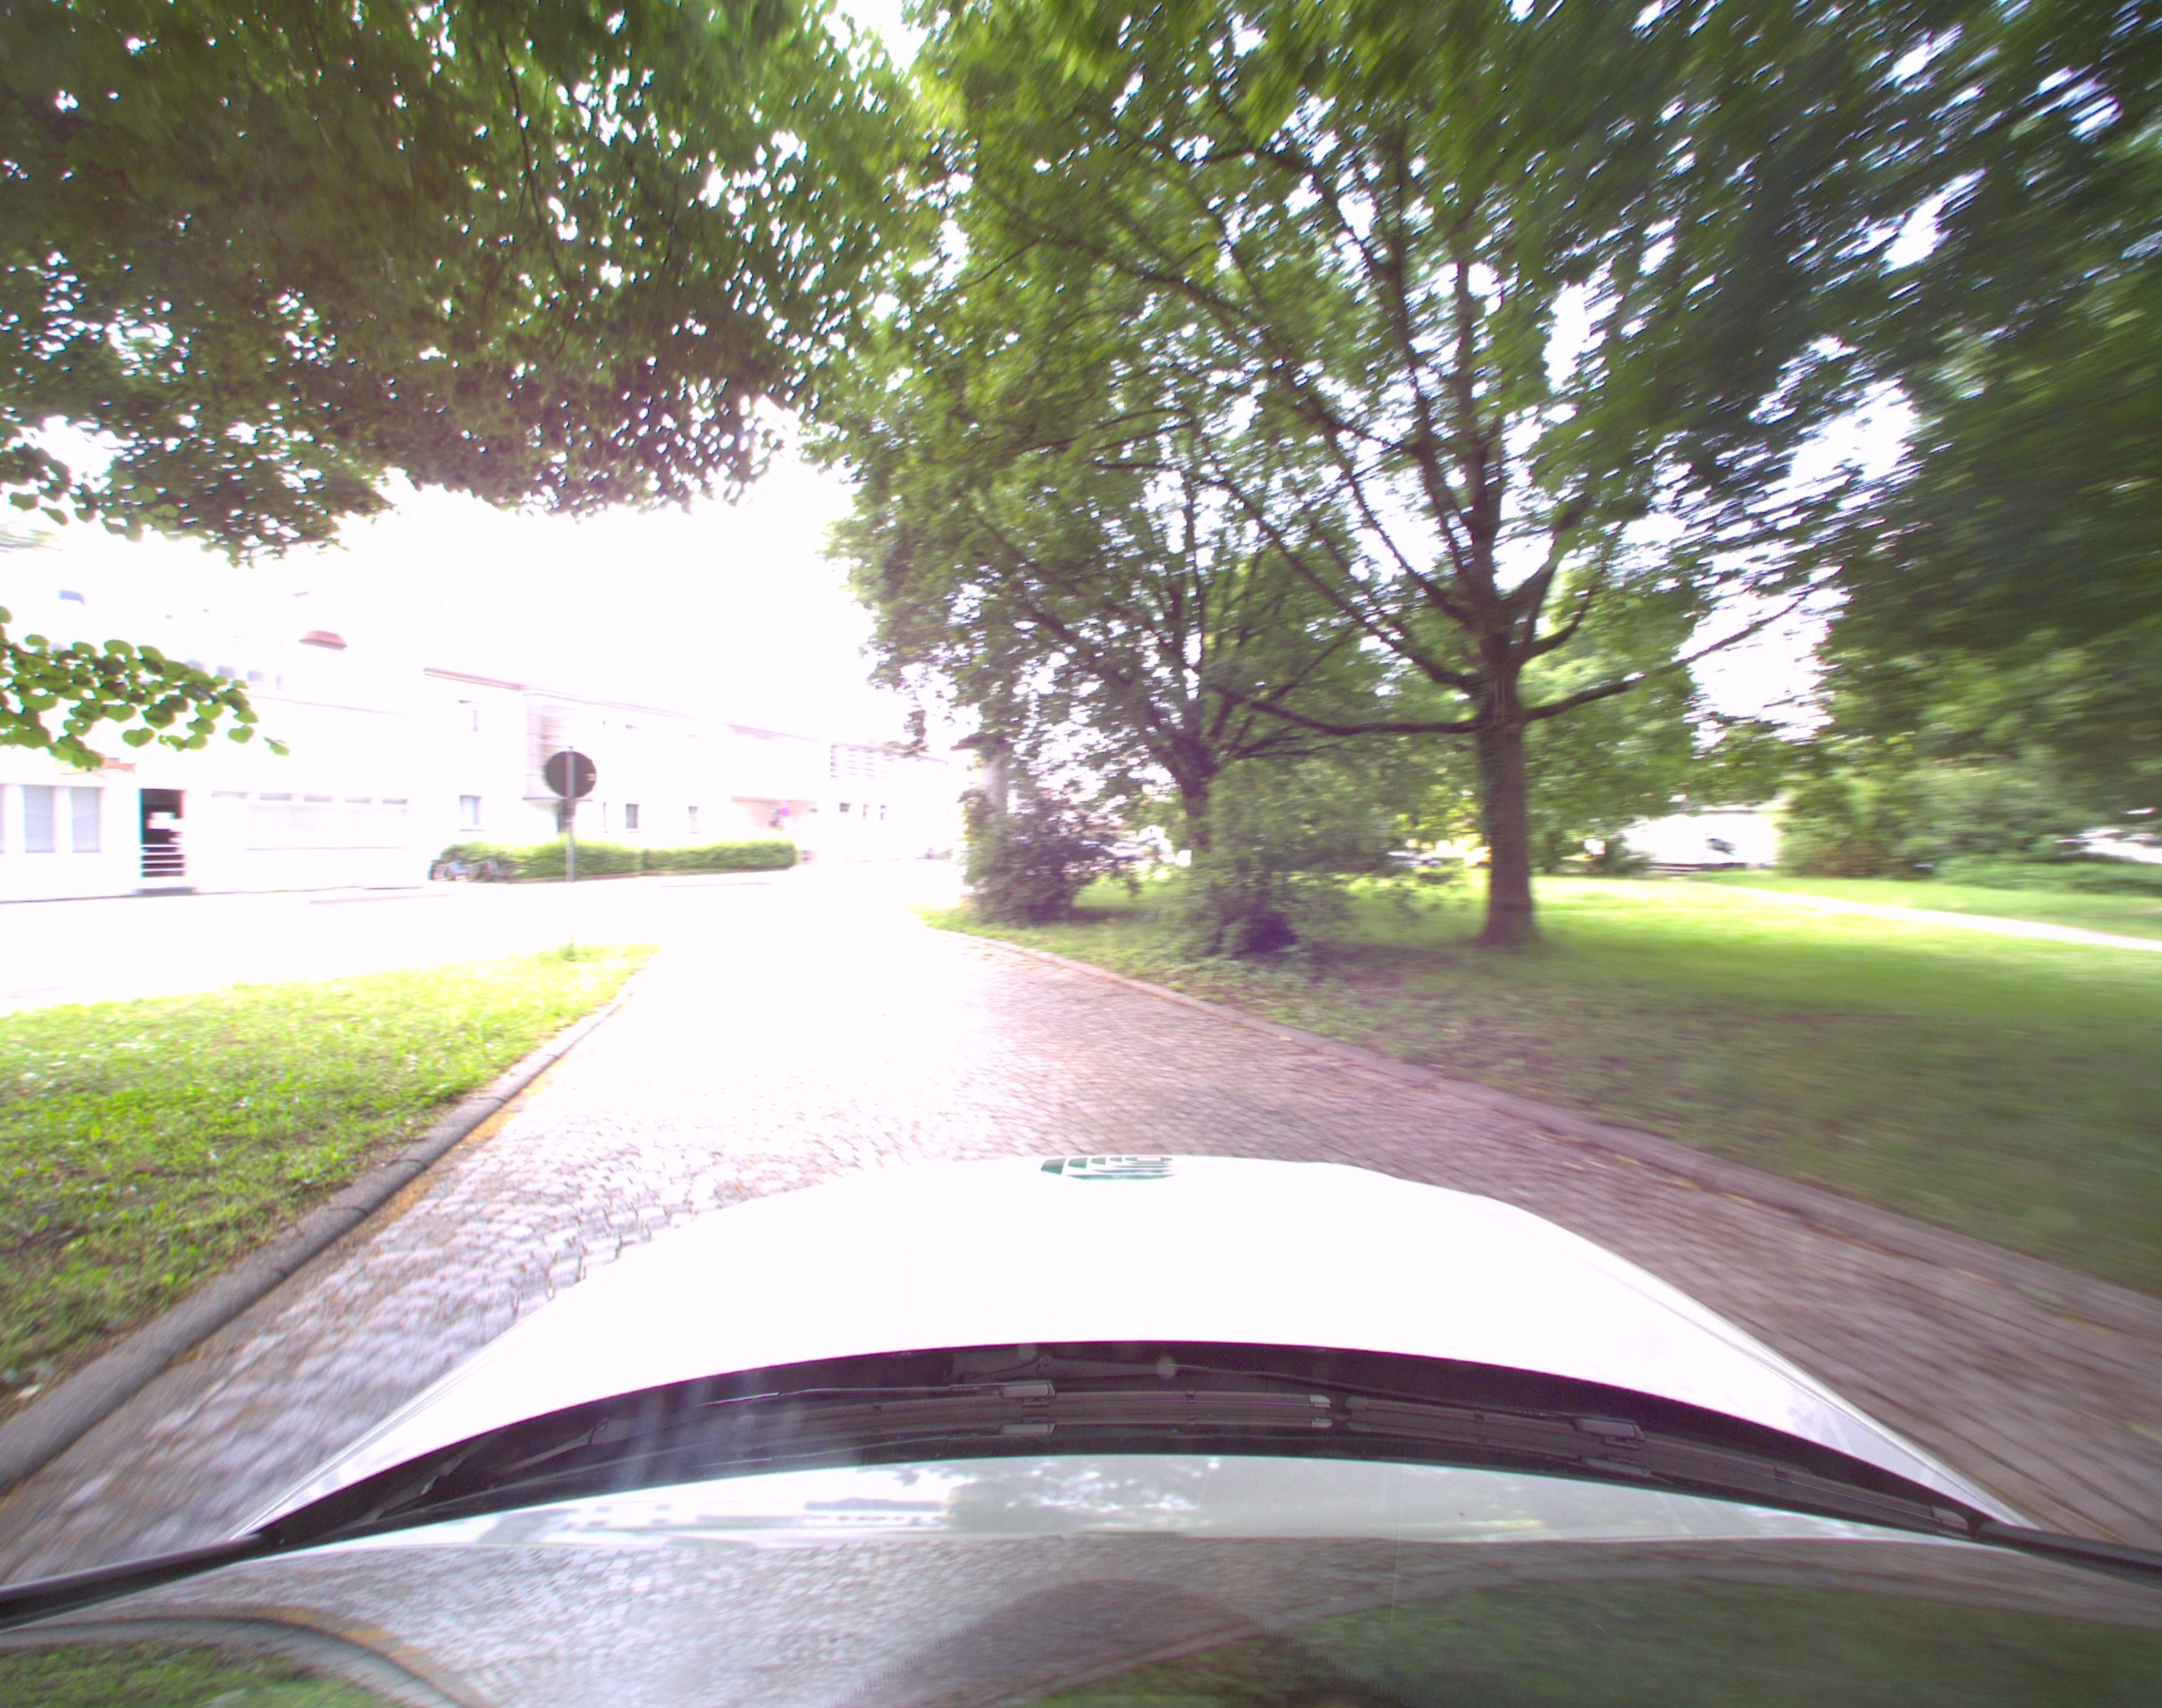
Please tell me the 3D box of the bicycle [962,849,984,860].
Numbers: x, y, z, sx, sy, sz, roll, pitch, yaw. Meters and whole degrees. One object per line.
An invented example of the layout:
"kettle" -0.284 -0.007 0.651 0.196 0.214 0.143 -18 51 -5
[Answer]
"bicycle" -8.373 0.049 63.034 1.667 0.757 0.569 1 1 -5

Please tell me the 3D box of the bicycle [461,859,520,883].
"bicycle" -19.174 0.554 26.446 1.662 0.757 0.411 0 1 3

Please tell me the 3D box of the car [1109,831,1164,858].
"car" 3.718 -0.669 53.800 1.963 1.683 4.601 2 2 26
